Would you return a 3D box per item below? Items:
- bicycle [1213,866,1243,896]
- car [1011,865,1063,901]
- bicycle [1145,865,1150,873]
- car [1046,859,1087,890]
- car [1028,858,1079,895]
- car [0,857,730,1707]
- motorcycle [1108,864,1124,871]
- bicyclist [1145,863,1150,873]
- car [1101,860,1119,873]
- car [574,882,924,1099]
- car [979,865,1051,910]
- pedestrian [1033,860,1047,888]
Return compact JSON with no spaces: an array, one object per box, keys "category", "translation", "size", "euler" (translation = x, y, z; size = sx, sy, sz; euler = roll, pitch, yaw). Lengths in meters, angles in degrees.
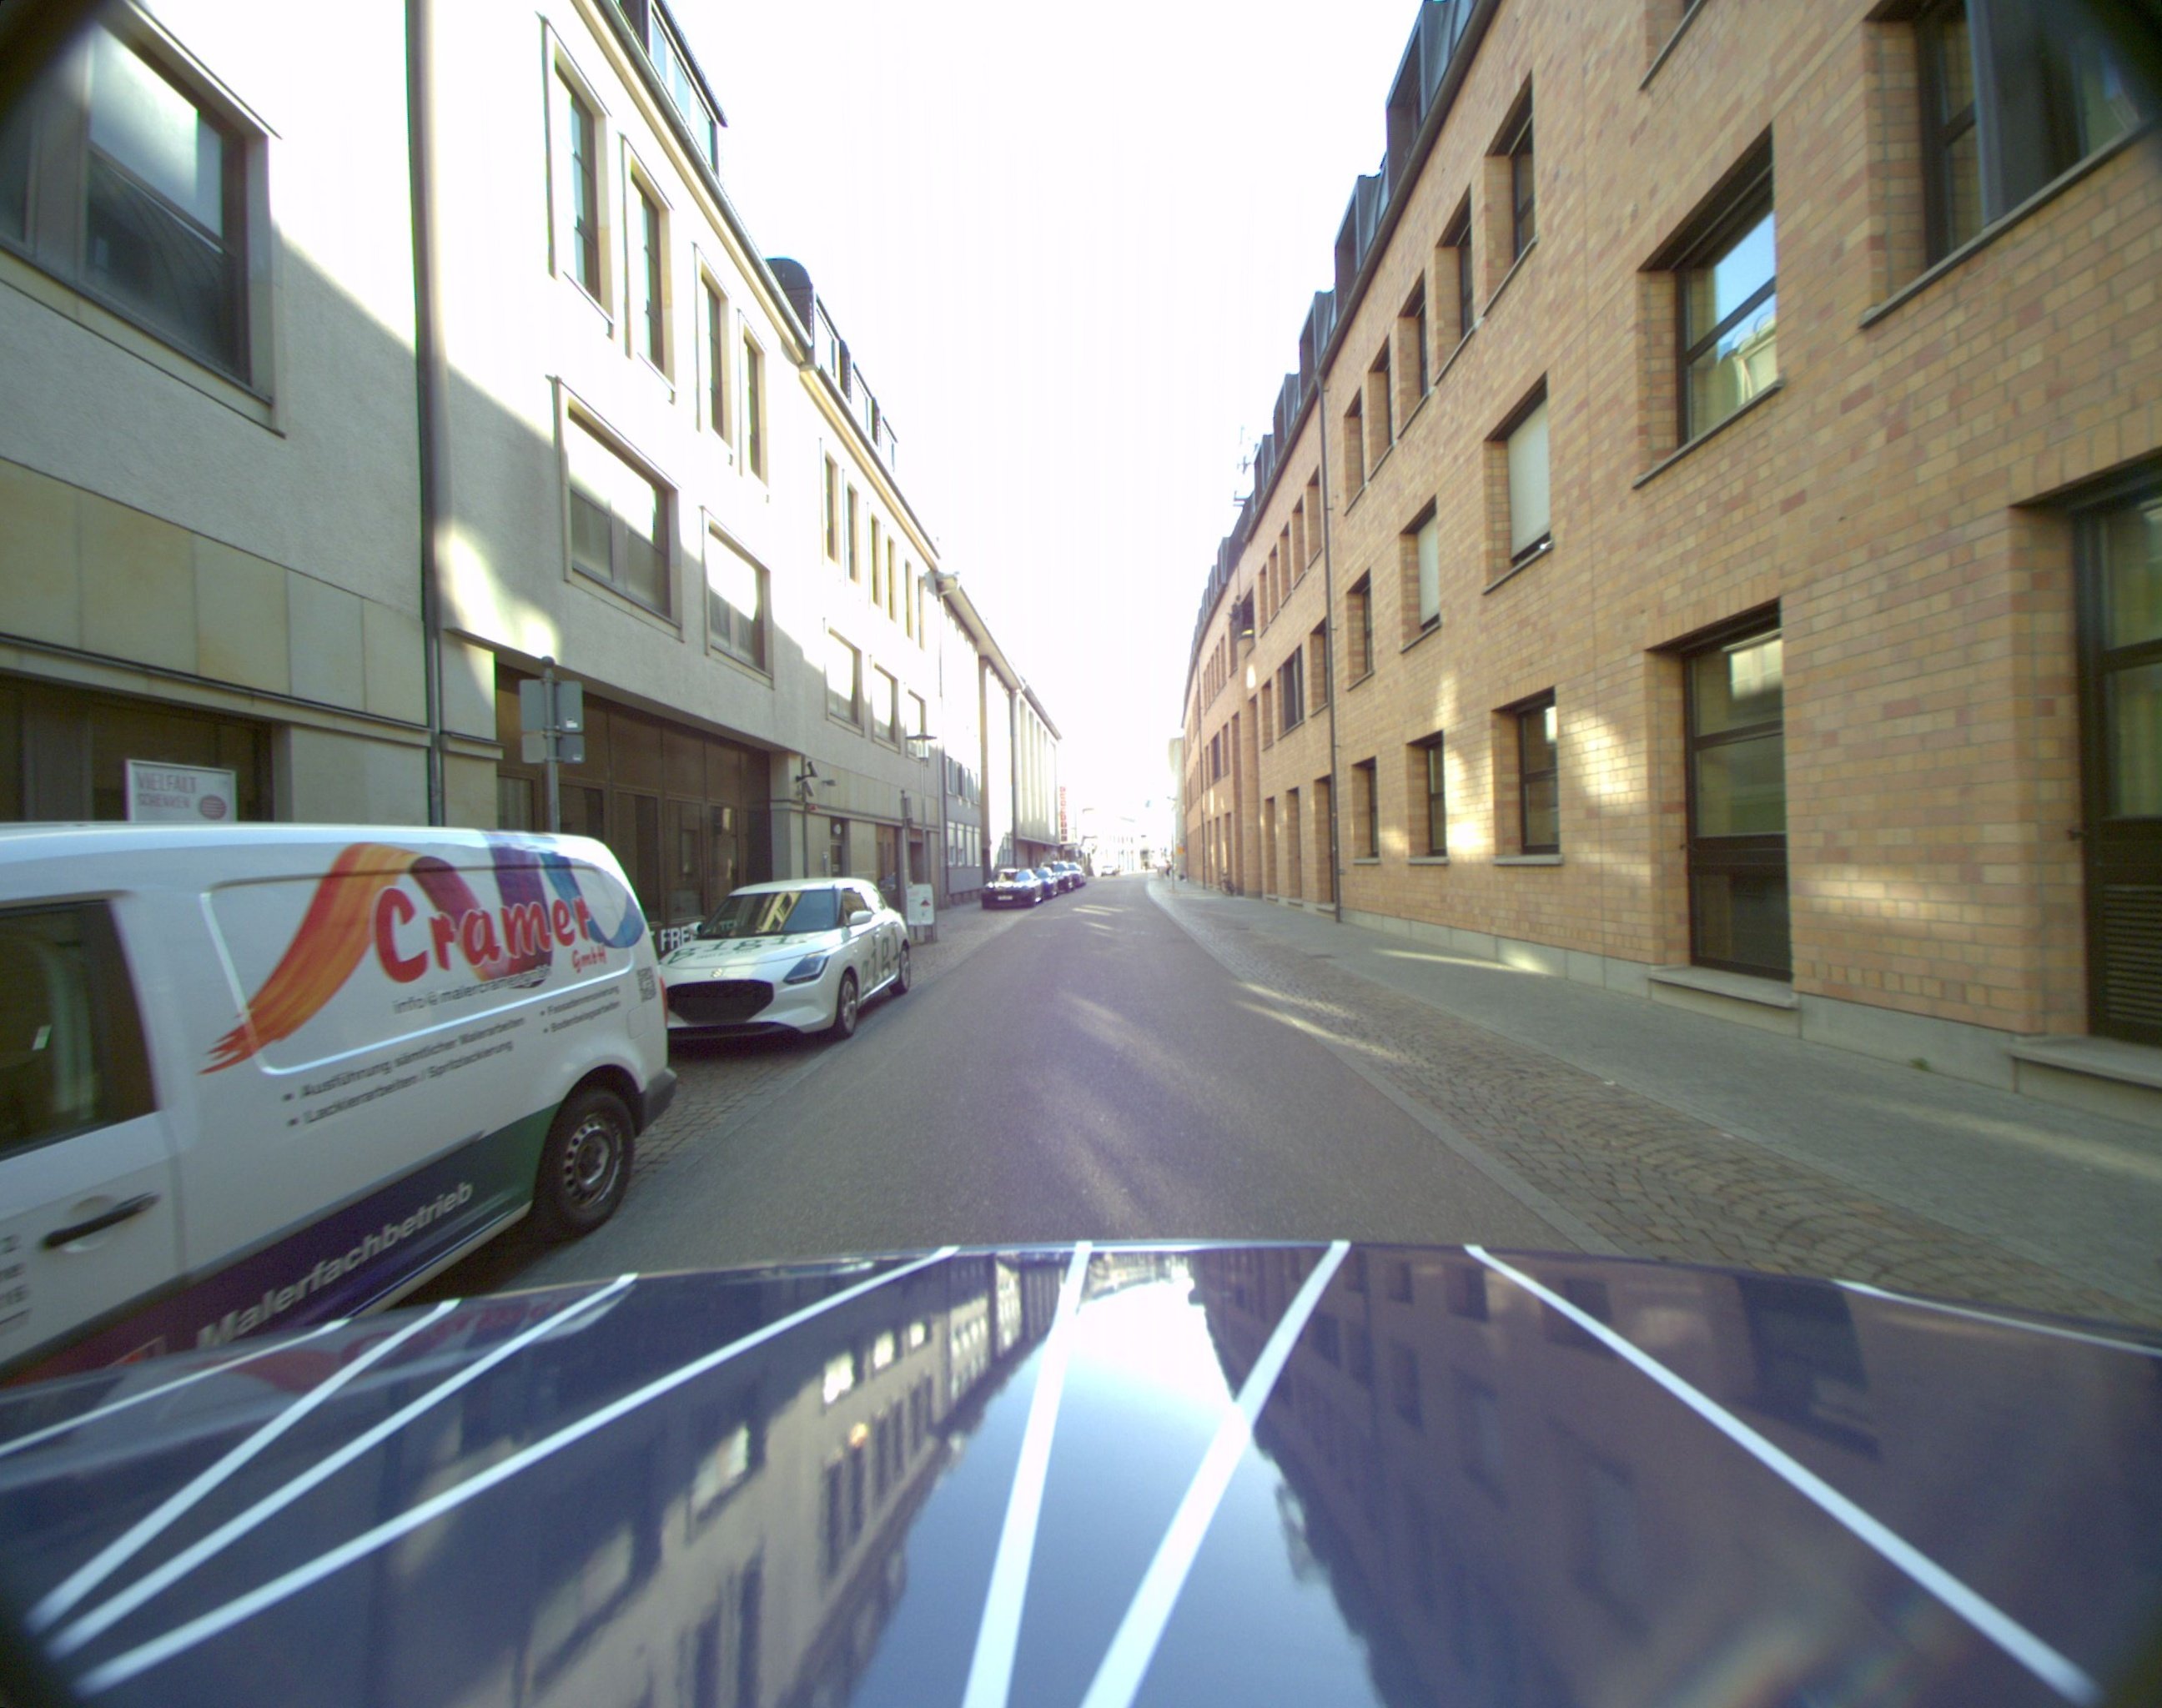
[{"category":"bicycle","translation":[5.897,1.073,30.589],"size":[0.633,1.155,1.803],"euler":[-4,0,-5]},{"category":"car","translation":[-1.951,1.289,35.186],"size":[1.811,1.404,4.791],"euler":[-4,0,3]},{"category":"bicycle","translation":[10.269,2.302,116.703],"size":[0.652,1.125,1.737],"euler":[2,1,8]},{"category":"car","translation":[-0.841,1.257,48.313],"size":[1.998,1.692,4.845],"euler":[-4,-1,5]},{"category":"car","translation":[-1.414,1.150,41.348],"size":[2.108,1.775,5.054],"euler":[-3,0,5]},{"category":"car","translation":[-2.957,0.944,1.751],"size":[1.835,1.780,5.213],"euler":[-3,0,-1]},{"category":"motorcycle","translation":[4.861,1.903,105.416],"size":[1.995,0.950,0.646],"euler":[-2,0,19]},{"category":"bicyclist","translation":[10.265,2.150,116.761],"size":[0.663,1.633,0.926],"euler":[2,1,8]},{"category":"car","translation":[3.659,1.539,94.352],"size":[1.846,1.453,4.001],"euler":[-3,-1,6]},{"category":"car","translation":[-3.034,1.147,8.058],"size":[1.845,1.469,4.168],"euler":[-4,0,-1]},{"category":"car","translation":[-2.421,1.208,29.167],"size":[1.898,1.444,5.227],"euler":[-3,0,4]},{"category":"pedestrian","translation":[-2.553,1.216,47.146],"size":[0.790,1.711,0.747],"euler":[1,0,4]}]
